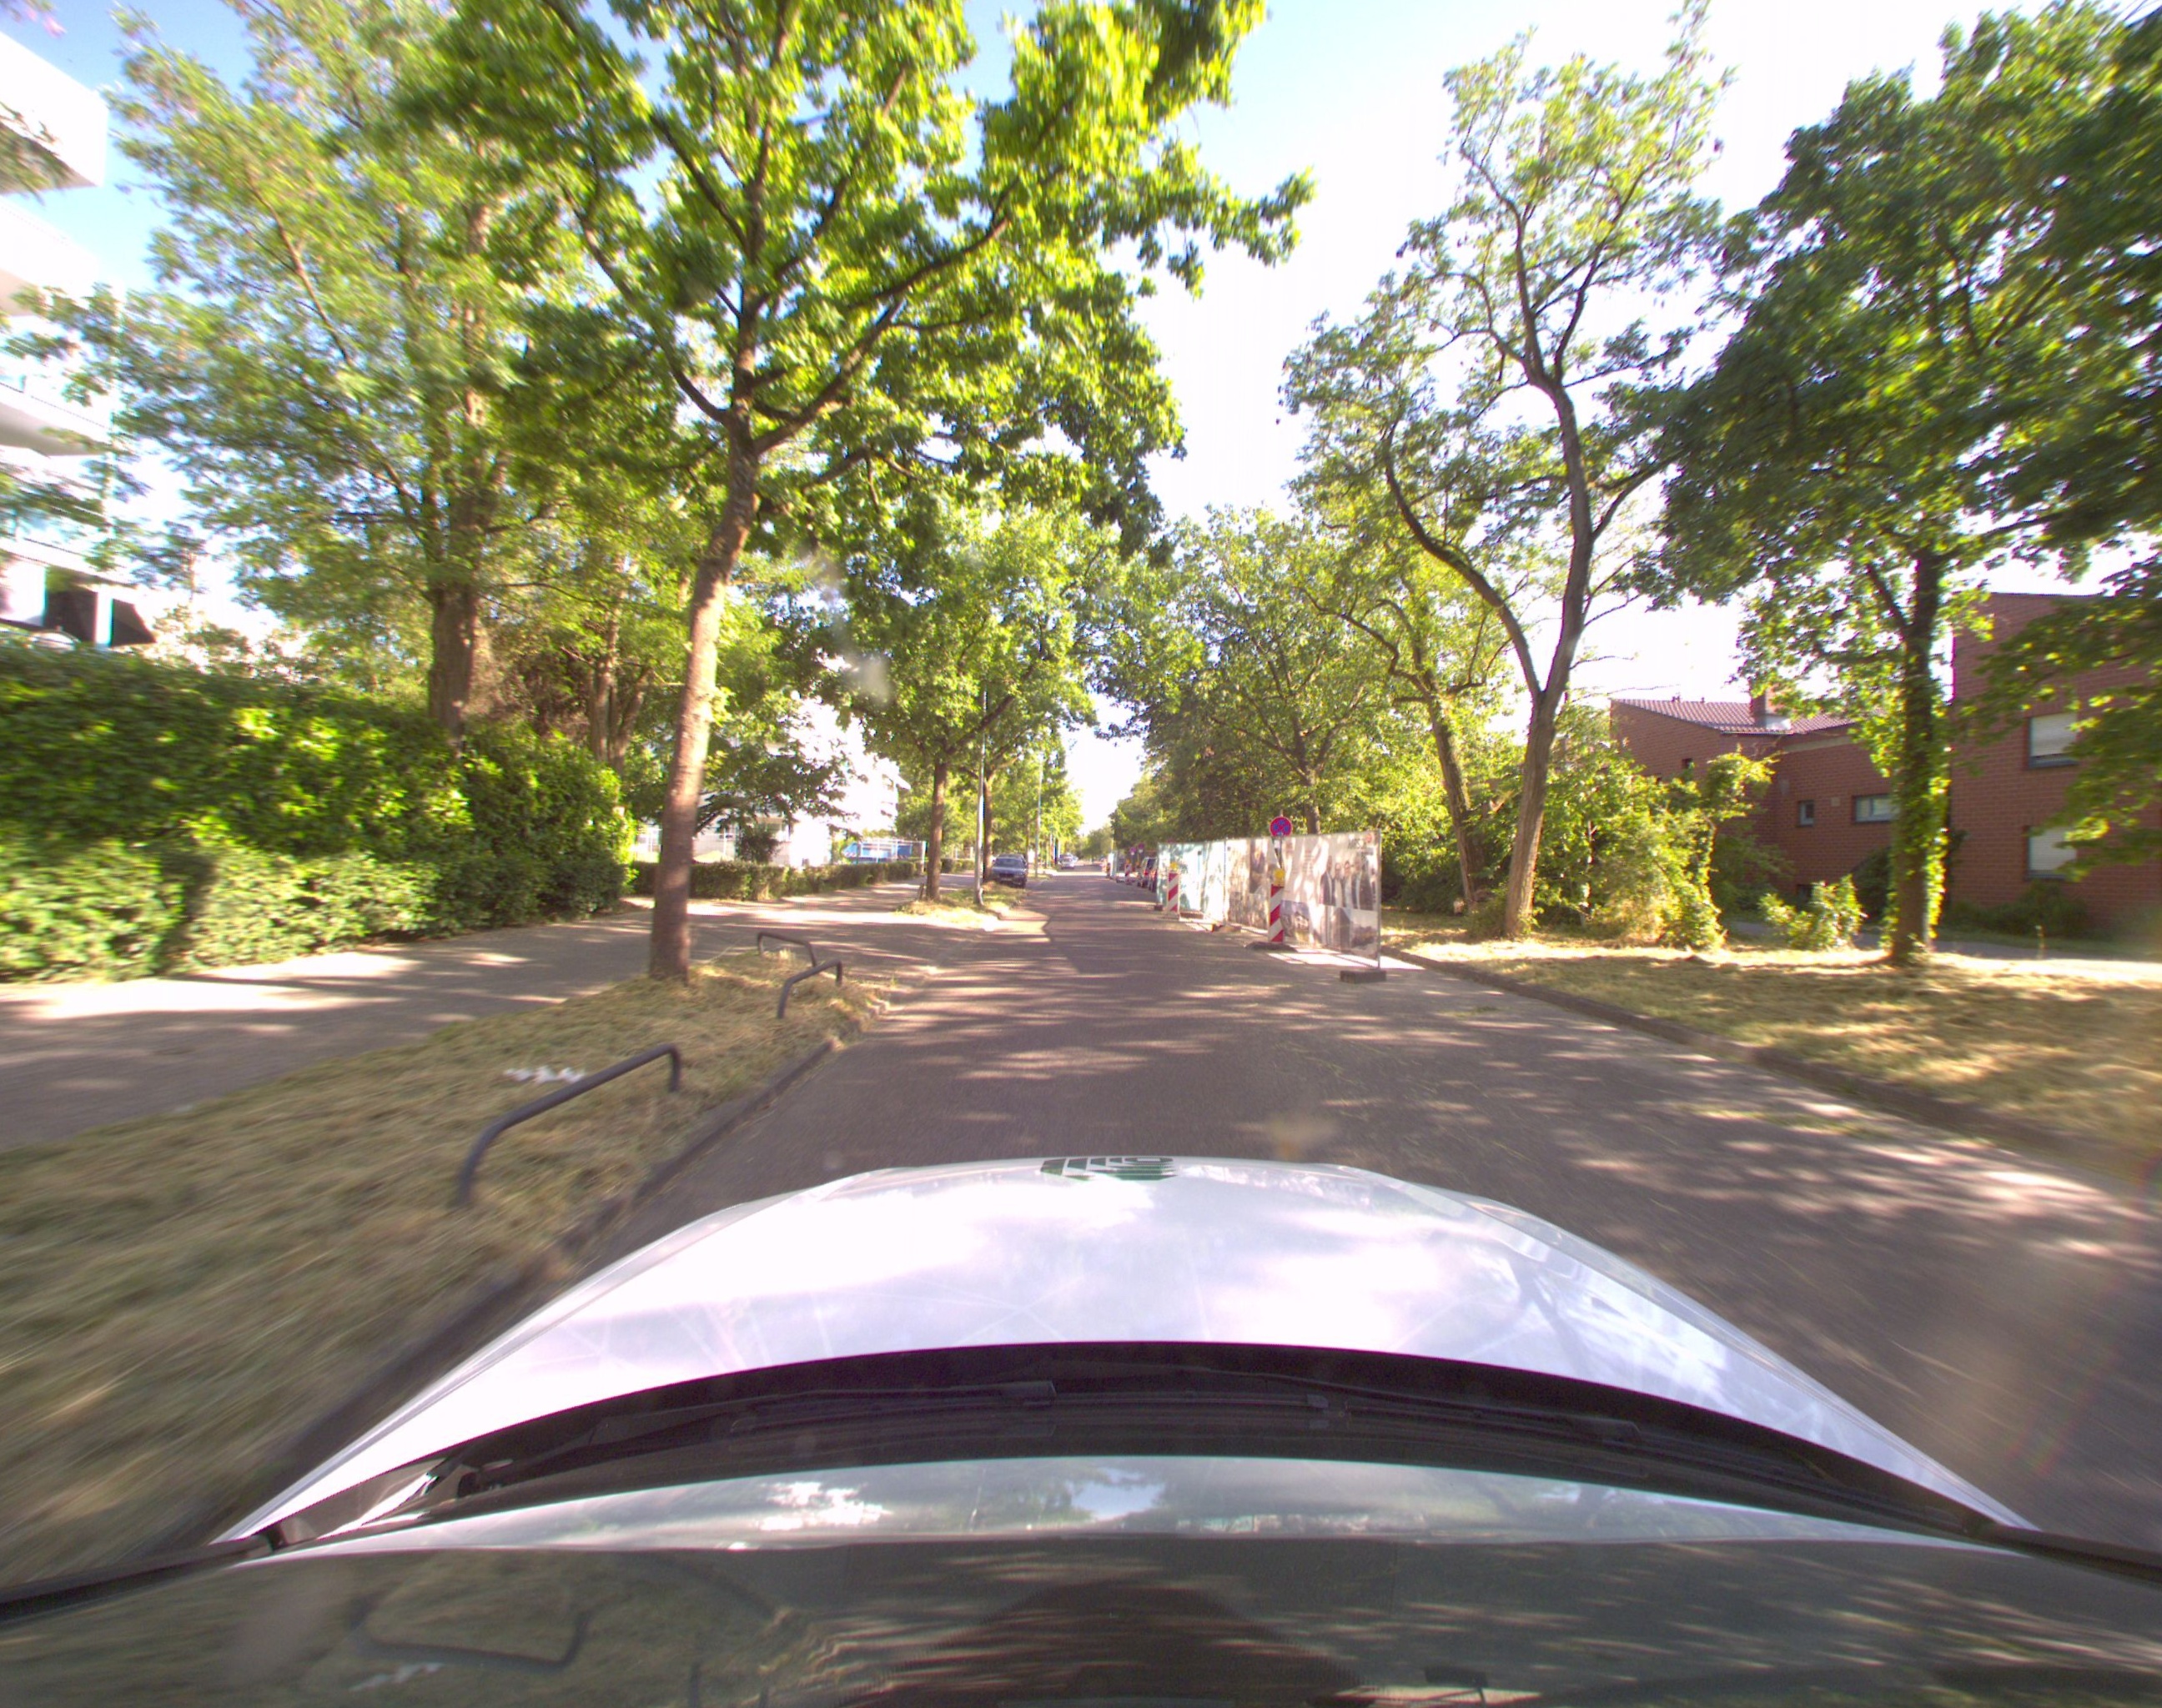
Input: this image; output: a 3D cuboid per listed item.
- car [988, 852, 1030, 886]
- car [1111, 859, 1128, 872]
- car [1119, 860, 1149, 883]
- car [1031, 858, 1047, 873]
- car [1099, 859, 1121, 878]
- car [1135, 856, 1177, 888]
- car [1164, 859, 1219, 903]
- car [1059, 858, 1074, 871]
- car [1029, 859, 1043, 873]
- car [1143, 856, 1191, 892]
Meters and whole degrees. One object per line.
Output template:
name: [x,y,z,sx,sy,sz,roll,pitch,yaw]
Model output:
car: [-3.447,0.705,39.464,1.746,1.478,3.833,2,0,-2]
car: [4.362,1.256,92.248,1.788,1.409,4.001,2,0,1]
car: [3.188,1.043,49.452,1.358,1.302,3.477,3,-1,-3]
car: [-3.849,1.089,74.814,1.358,1.302,3.477,3,-1,-3]
car: [2.218,1.115,62.396,1.358,1.302,3.477,3,-1,-3]
car: [3.968,0.939,43.564,1.748,1.595,3.655,2,0,-2]
car: [4.004,0.935,29.832,1.497,1.478,3.056,2,0,-2]
car: [-1.876,1.428,107.303,1.707,1.585,3.994,3,-1,-4]
car: [-4.757,1.280,86.519,1.358,1.302,3.477,3,-1,-3]
car: [4.051,0.924,38.888,1.748,1.595,3.655,2,0,-2]
